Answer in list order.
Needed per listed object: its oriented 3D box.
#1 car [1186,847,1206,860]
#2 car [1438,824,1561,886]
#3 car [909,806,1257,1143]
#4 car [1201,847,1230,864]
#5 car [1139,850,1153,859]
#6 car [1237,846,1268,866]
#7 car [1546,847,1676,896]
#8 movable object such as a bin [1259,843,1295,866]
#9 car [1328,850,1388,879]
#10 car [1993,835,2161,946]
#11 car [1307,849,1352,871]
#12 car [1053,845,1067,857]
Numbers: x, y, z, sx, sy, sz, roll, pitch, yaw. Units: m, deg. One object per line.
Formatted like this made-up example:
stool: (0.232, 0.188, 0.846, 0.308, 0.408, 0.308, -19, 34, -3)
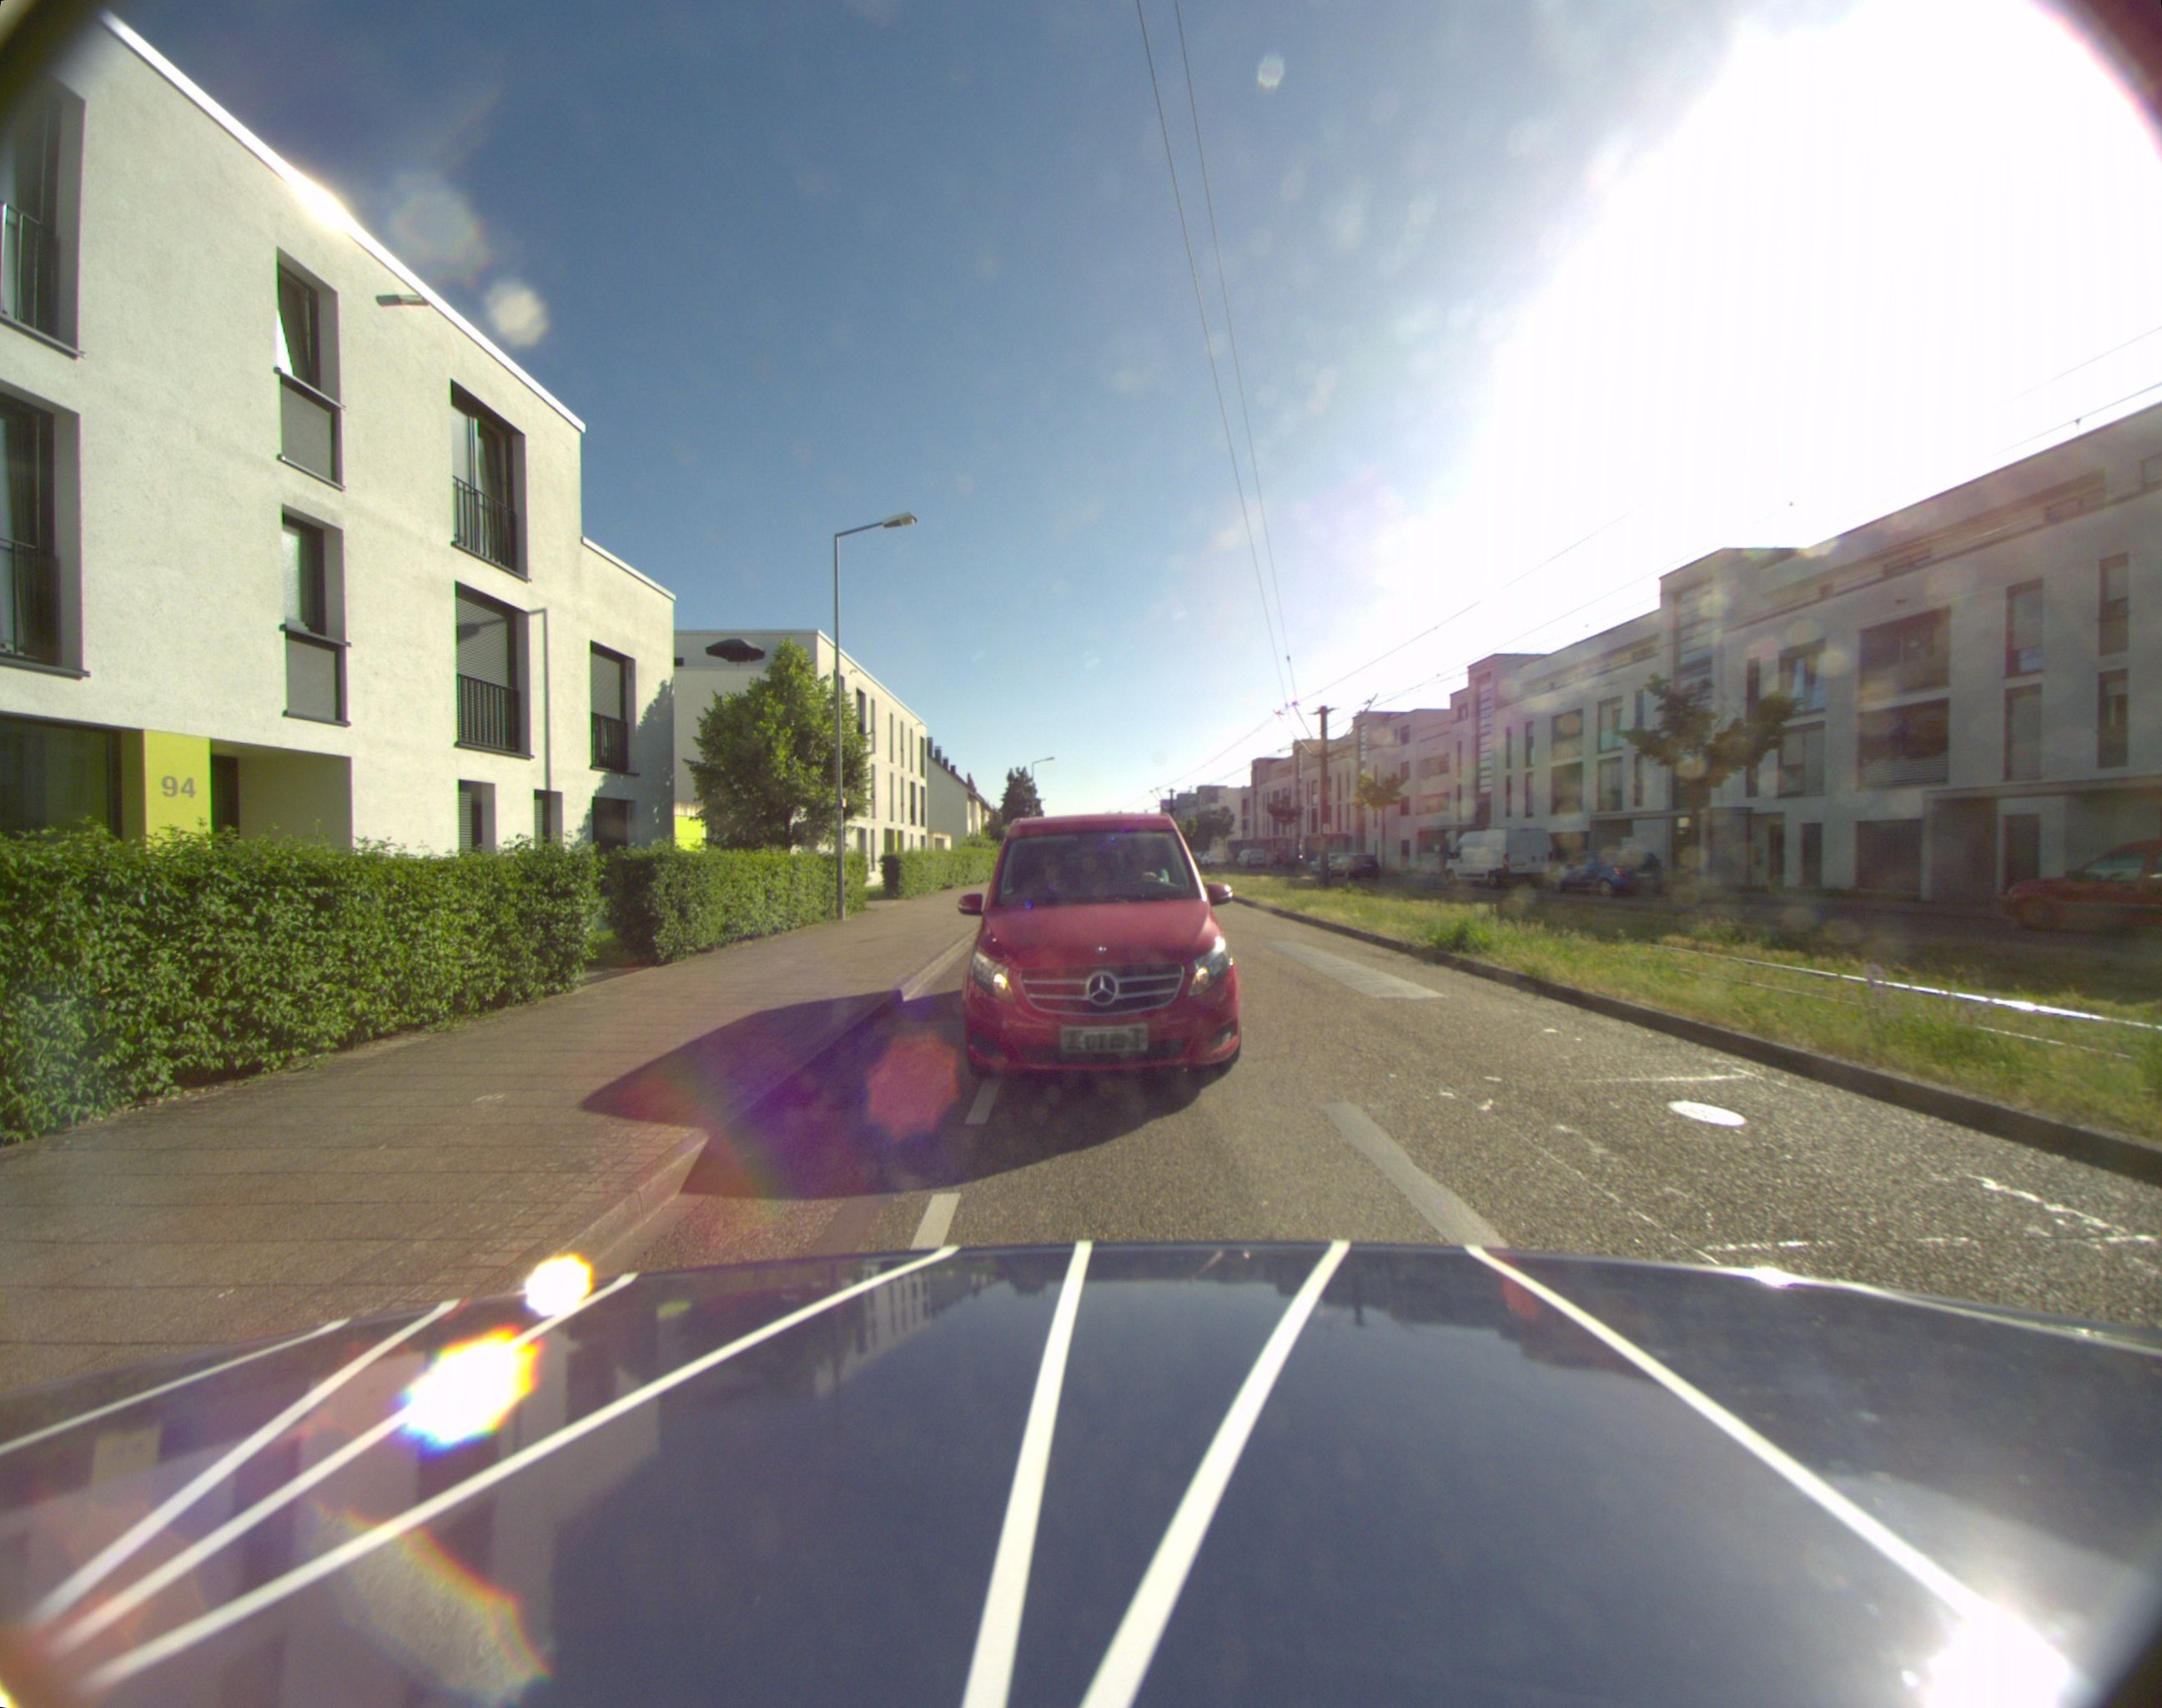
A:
car: (15.039, -0.039, 99.566, 1.766, 1.590, 4.155, -2, 0, -4)
car: (18.154, 0.023, 33.375, 2.146, 2.430, 5.588, -2, 0, -1)
car: (0.070, 0.705, 7.094, 1.979, 1.922, 5.205, -2, 0, 1)
car: (13.530, 0.113, 76.694, 1.999, 1.586, 4.645, 2, 0, -2)
car: (11.900, 0.016, 139.423, 1.766, 1.590, 4.155, -2, 0, -4)
car: (16.732, 0.144, 74.245, 1.766, 1.859, 4.155, -2, 0, -4)
car: (18.289, 0.559, 26.451, 1.829, 1.528, 3.842, -2, 0, 0)
movable object such as a bin: (17.049, 0.043, 66.133, 1.766, 1.926, 4.155, -2, 0, -4)
car: (14.785, 0.528, 40.739, 1.792, 1.410, 4.000, 1, 0, 1)
car: (18.570, 0.576, 12.778, 1.885, 1.785, 3.837, -2, 0, 1)
car: (17.557, 0.419, 53.882, 1.521, 1.424, 4.155, -2, 0, -4)
car: (-2.668, -0.372, 98.380, 1.700, 1.466, 4.013, 2, 0, 0)
